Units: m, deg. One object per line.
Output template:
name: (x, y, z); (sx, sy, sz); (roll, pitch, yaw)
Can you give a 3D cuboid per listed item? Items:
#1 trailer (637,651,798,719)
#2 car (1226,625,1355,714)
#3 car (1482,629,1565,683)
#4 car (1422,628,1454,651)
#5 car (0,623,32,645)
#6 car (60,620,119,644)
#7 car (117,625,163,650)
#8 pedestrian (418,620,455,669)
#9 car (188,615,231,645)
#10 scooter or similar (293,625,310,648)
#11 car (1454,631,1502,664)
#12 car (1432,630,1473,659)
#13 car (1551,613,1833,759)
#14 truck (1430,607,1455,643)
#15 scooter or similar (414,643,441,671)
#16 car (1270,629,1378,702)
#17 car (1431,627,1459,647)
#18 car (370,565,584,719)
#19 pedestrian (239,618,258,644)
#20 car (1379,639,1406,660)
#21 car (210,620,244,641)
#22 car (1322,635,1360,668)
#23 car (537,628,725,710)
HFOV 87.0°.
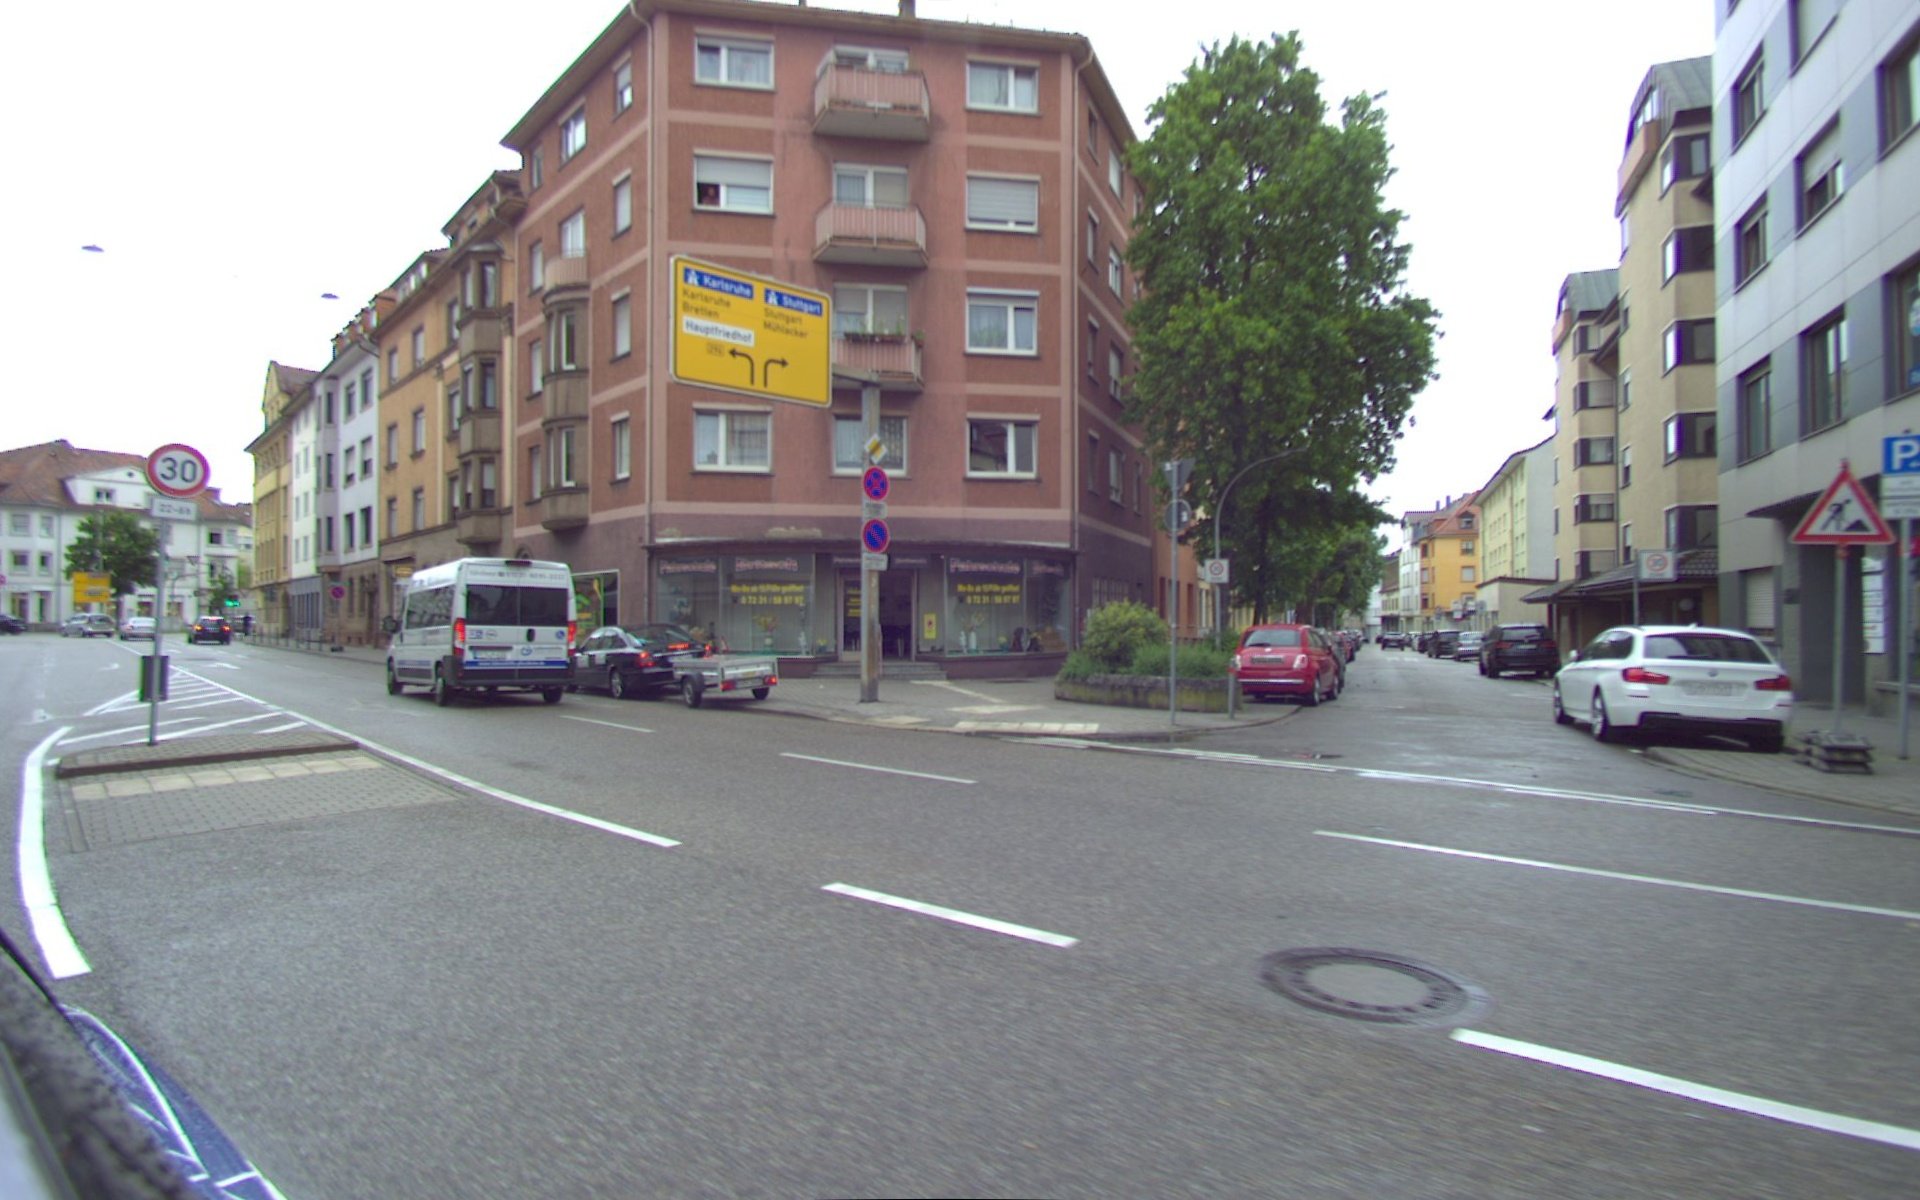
trailer: (-4.375, 1.460, 18.020); (1.568, 0.956, 3.061); (0, -1, -40)
car: (6.339, 1.236, 19.201); (1.687, 1.494, 3.491); (0, -1, 30)
car: (17.899, 1.736, 32.306); (1.988, 1.564, 3.967); (0, -1, 25)
car: (34.631, 2.830, 73.367); (1.988, 1.564, 3.967); (0, -1, 25)
car: (-70.398, 2.456, 73.170); (4.533, 1.595, 1.952); (0, -1, -6)
car: (-61.219, 2.231, 71.167); (4.506, 1.595, 1.928); (0, -1, 33)
car: (-51.628, 2.357, 63.681); (1.919, 1.481, 4.564); (1, -2, -43)
pedestrian: (-18.640, 1.563, 36.061); (0.851, 1.691, 0.835); (-1, 1, 35)
car: (-44.359, 1.740, 59.781); (1.732, 1.664, 4.314); (1, -1, -40)
scooter or similar: (-36.370, 2.003, 55.855); (0.455, 1.222, 1.580); (-4, 2, -43)
car: (26.533, 2.378, 51.938); (1.988, 1.564, 3.967); (0, -1, 25)
car: (28.366, 2.511, 58.376); (1.988, 1.564, 3.967); (0, -1, 25)
car: (9.247, 0.958, 13.267); (1.893, 1.544, 4.609); (0, -1, 22)
truck: (44.084, 2.237, 92.554); (1.988, 3.205, 4.571); (0, -1, 25)
scooter or similar: (-19.150, 2.037, 36.414); (0.479, 0.932, 0.706); (-1, 1, 35)
car: (8.381, 1.436, 23.146); (1.688, 1.494, 3.489); (0, -1, 31)
car: (39.895, 3.048, 83.309); (1.988, 1.564, 3.967); (0, -1, 25)
car: (-9.341, 0.717, 19.203); (2.060, 2.454, 6.362); (1, -1, -41)
pedestrian: (-51.301, 2.236, 72.950); (0.883, 1.784, 1.033); (-4, 2, -44)
car: (36.263, 4.134, 84.872); (1.987, 1.564, 3.970); (0, -1, 22)
car: (-58.720, 2.390, 81.042); (1.956, 1.607, 4.345); (1, -1, -39)
car: (18.913, 2.524, 50.340); (1.680, 1.494, 3.504); (0, -1, 19)
car: (-6.958, 1.343, 21.079); (1.828, 1.408, 4.798); (-3, 1, -43)
